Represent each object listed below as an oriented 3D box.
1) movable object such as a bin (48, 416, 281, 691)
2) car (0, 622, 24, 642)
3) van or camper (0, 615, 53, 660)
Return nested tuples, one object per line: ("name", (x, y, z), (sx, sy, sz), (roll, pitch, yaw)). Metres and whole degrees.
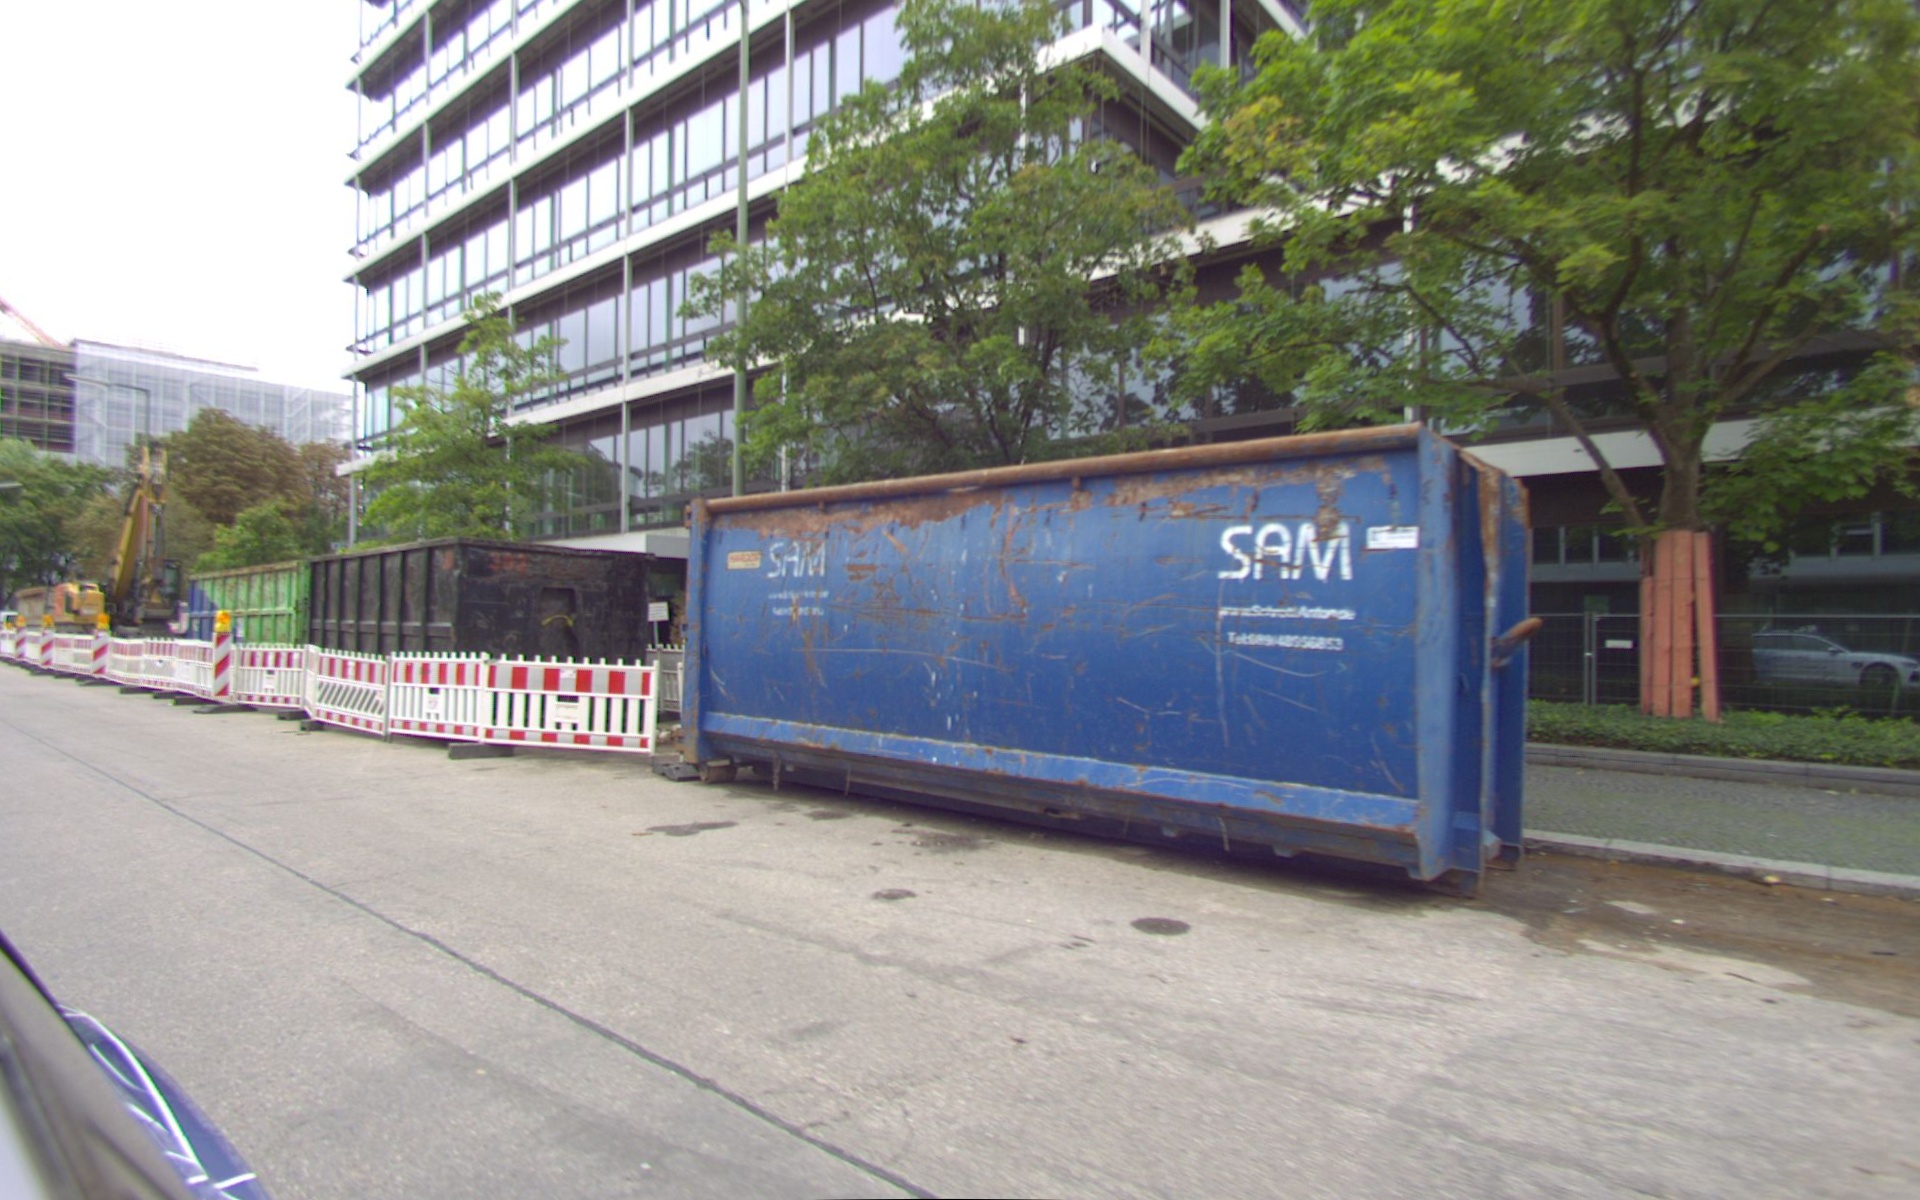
("movable object such as a bin", (-23.316, -1.037, 29.275), (11.776, 6.614, 2.874), (-1, -2, 41))
("car", (-76.098, 2.483, 79.129), (1.775, 1.584, 3.863), (1, -2, 18))
("van or camper", (-46.382, 1.860, 49.963), (5.588, 2.050, 1.966), (-2, -4, 45))
